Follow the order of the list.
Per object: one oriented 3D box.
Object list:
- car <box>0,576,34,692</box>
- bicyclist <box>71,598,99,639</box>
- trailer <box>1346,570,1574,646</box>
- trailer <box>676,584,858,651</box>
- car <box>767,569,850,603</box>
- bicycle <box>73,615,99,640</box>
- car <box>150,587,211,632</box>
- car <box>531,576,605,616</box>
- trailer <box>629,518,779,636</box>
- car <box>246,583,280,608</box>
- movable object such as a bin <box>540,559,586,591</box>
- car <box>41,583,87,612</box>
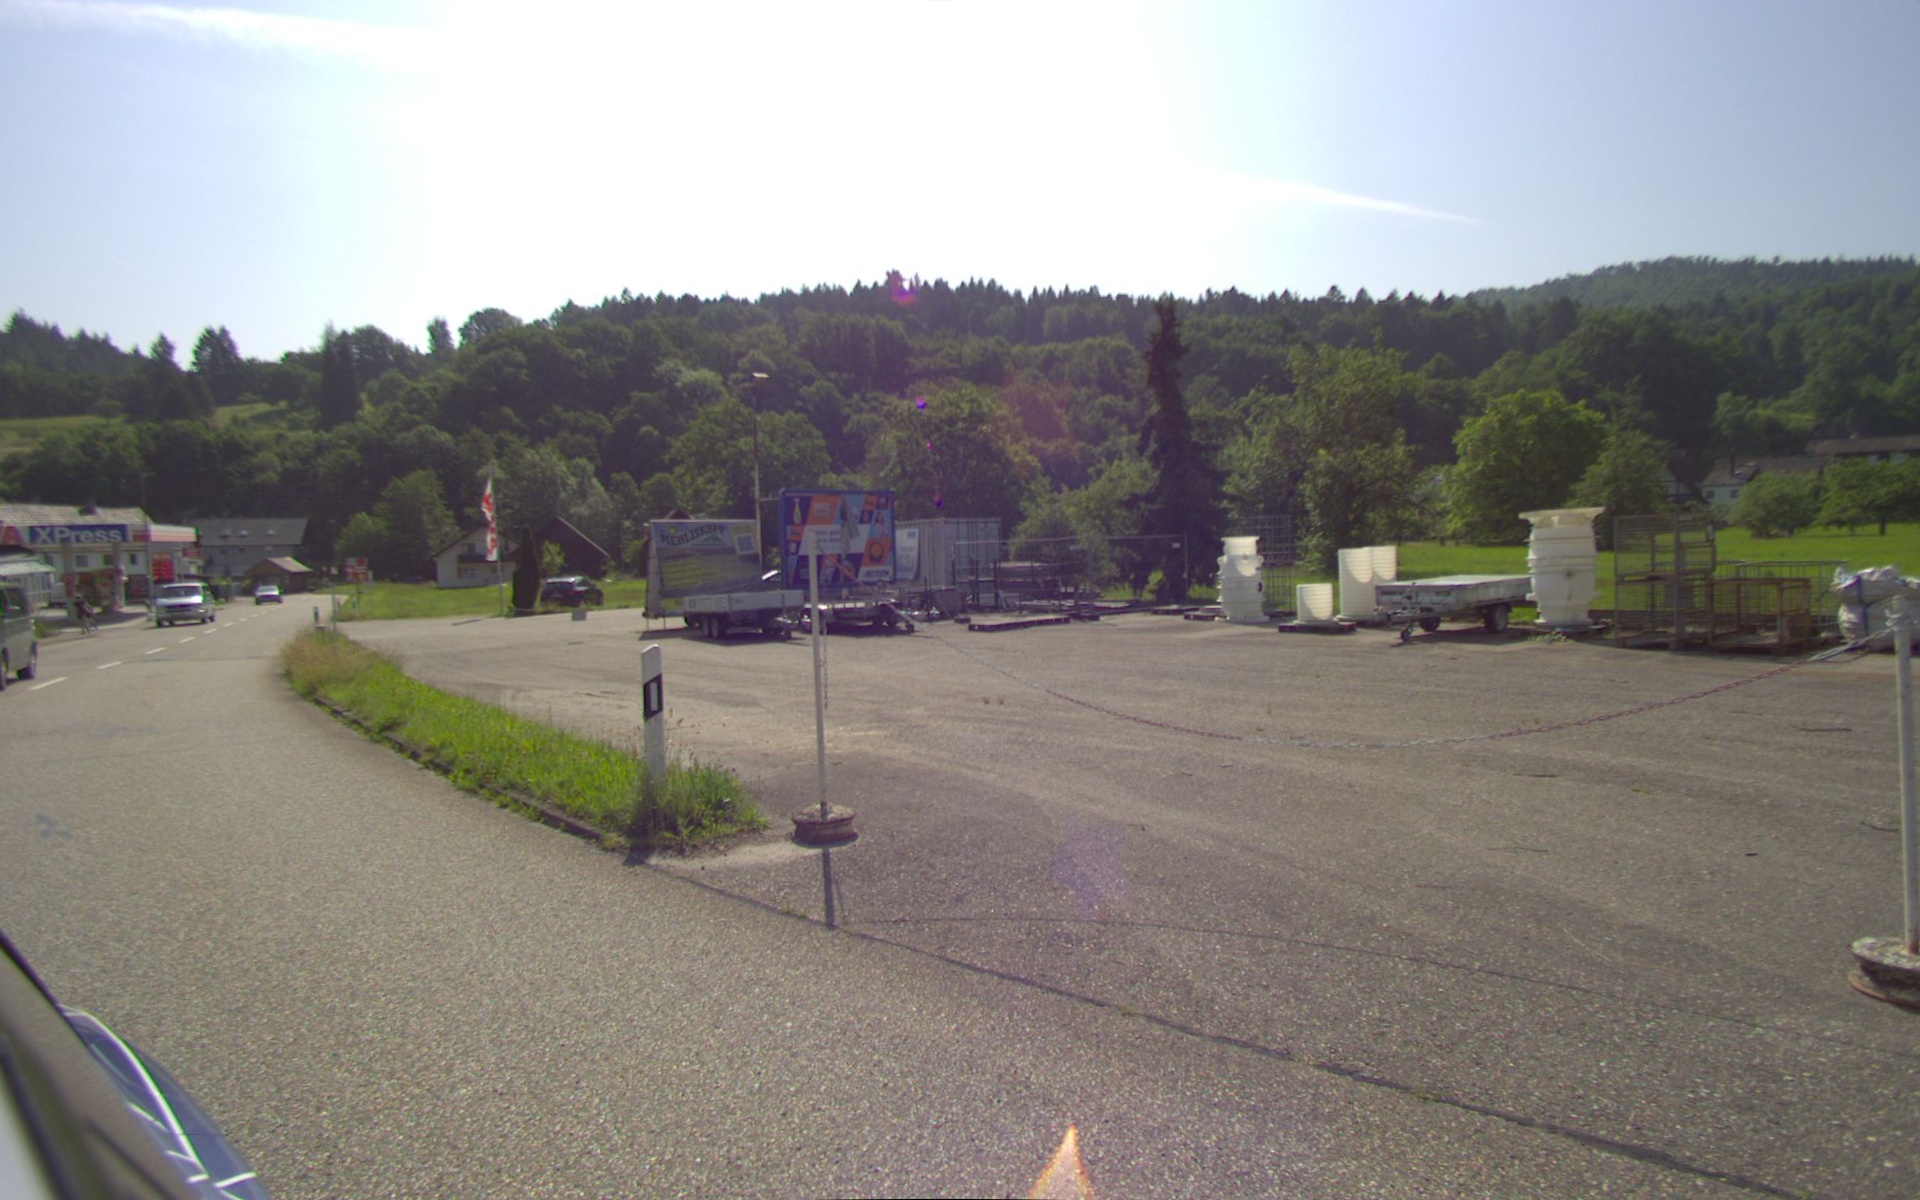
[{"bbox_3d":[-18.499,0.596,18.360,1.992,1.996,5.060,-2,1,-37],"label":"car"},{"bbox_3d":[-36.736,0.769,42.496,0.680,1.644,1.142,-7,3,-44],"label":"bicyclist"},{"bbox_3d":[8.825,0.072,17.780,3.880,0.946,1.873,-5,5,-33],"label":"trailer"},{"bbox_3d":[-4.606,0.317,23.406,1.967,1.235,5.560,-5,4,-35],"label":"trailer"},{"bbox_3d":[-7.723,-0.730,51.551,3.866,1.496,1.923,-3,2,-17],"label":"car"},{"bbox_3d":[-36.710,1.154,42.496,0.680,0.924,1.951,-7,3,-43],"label":"bicycle"},{"bbox_3d":[-36.006,0.385,46.868,1.866,1.871,4.716,-3,2,-34],"label":"car"},{"bbox_3d":[-18.659,-0.251,48.384,1.809,1.661,4.912,-3,2,-3],"label":"car"},{"bbox_3d":[-6.980,-0.672,27.708,3.348,2.933,1.888,-5,3,-38],"label":"trailer"},{"bbox_3d":[-56.453,-0.385,81.988,1.738,1.758,3.993,-4,5,-29],"label":"car"},{"bbox_3d":[-42.086,-2.621,107.377,4.122,3.160,2.209,-3,2,-16],"label":"movable object such as a bin"},{"bbox_3d":[-64.451,-0.198,72.869,1.657,1.829,4.012,-5,4,-31],"label":"car"}]
